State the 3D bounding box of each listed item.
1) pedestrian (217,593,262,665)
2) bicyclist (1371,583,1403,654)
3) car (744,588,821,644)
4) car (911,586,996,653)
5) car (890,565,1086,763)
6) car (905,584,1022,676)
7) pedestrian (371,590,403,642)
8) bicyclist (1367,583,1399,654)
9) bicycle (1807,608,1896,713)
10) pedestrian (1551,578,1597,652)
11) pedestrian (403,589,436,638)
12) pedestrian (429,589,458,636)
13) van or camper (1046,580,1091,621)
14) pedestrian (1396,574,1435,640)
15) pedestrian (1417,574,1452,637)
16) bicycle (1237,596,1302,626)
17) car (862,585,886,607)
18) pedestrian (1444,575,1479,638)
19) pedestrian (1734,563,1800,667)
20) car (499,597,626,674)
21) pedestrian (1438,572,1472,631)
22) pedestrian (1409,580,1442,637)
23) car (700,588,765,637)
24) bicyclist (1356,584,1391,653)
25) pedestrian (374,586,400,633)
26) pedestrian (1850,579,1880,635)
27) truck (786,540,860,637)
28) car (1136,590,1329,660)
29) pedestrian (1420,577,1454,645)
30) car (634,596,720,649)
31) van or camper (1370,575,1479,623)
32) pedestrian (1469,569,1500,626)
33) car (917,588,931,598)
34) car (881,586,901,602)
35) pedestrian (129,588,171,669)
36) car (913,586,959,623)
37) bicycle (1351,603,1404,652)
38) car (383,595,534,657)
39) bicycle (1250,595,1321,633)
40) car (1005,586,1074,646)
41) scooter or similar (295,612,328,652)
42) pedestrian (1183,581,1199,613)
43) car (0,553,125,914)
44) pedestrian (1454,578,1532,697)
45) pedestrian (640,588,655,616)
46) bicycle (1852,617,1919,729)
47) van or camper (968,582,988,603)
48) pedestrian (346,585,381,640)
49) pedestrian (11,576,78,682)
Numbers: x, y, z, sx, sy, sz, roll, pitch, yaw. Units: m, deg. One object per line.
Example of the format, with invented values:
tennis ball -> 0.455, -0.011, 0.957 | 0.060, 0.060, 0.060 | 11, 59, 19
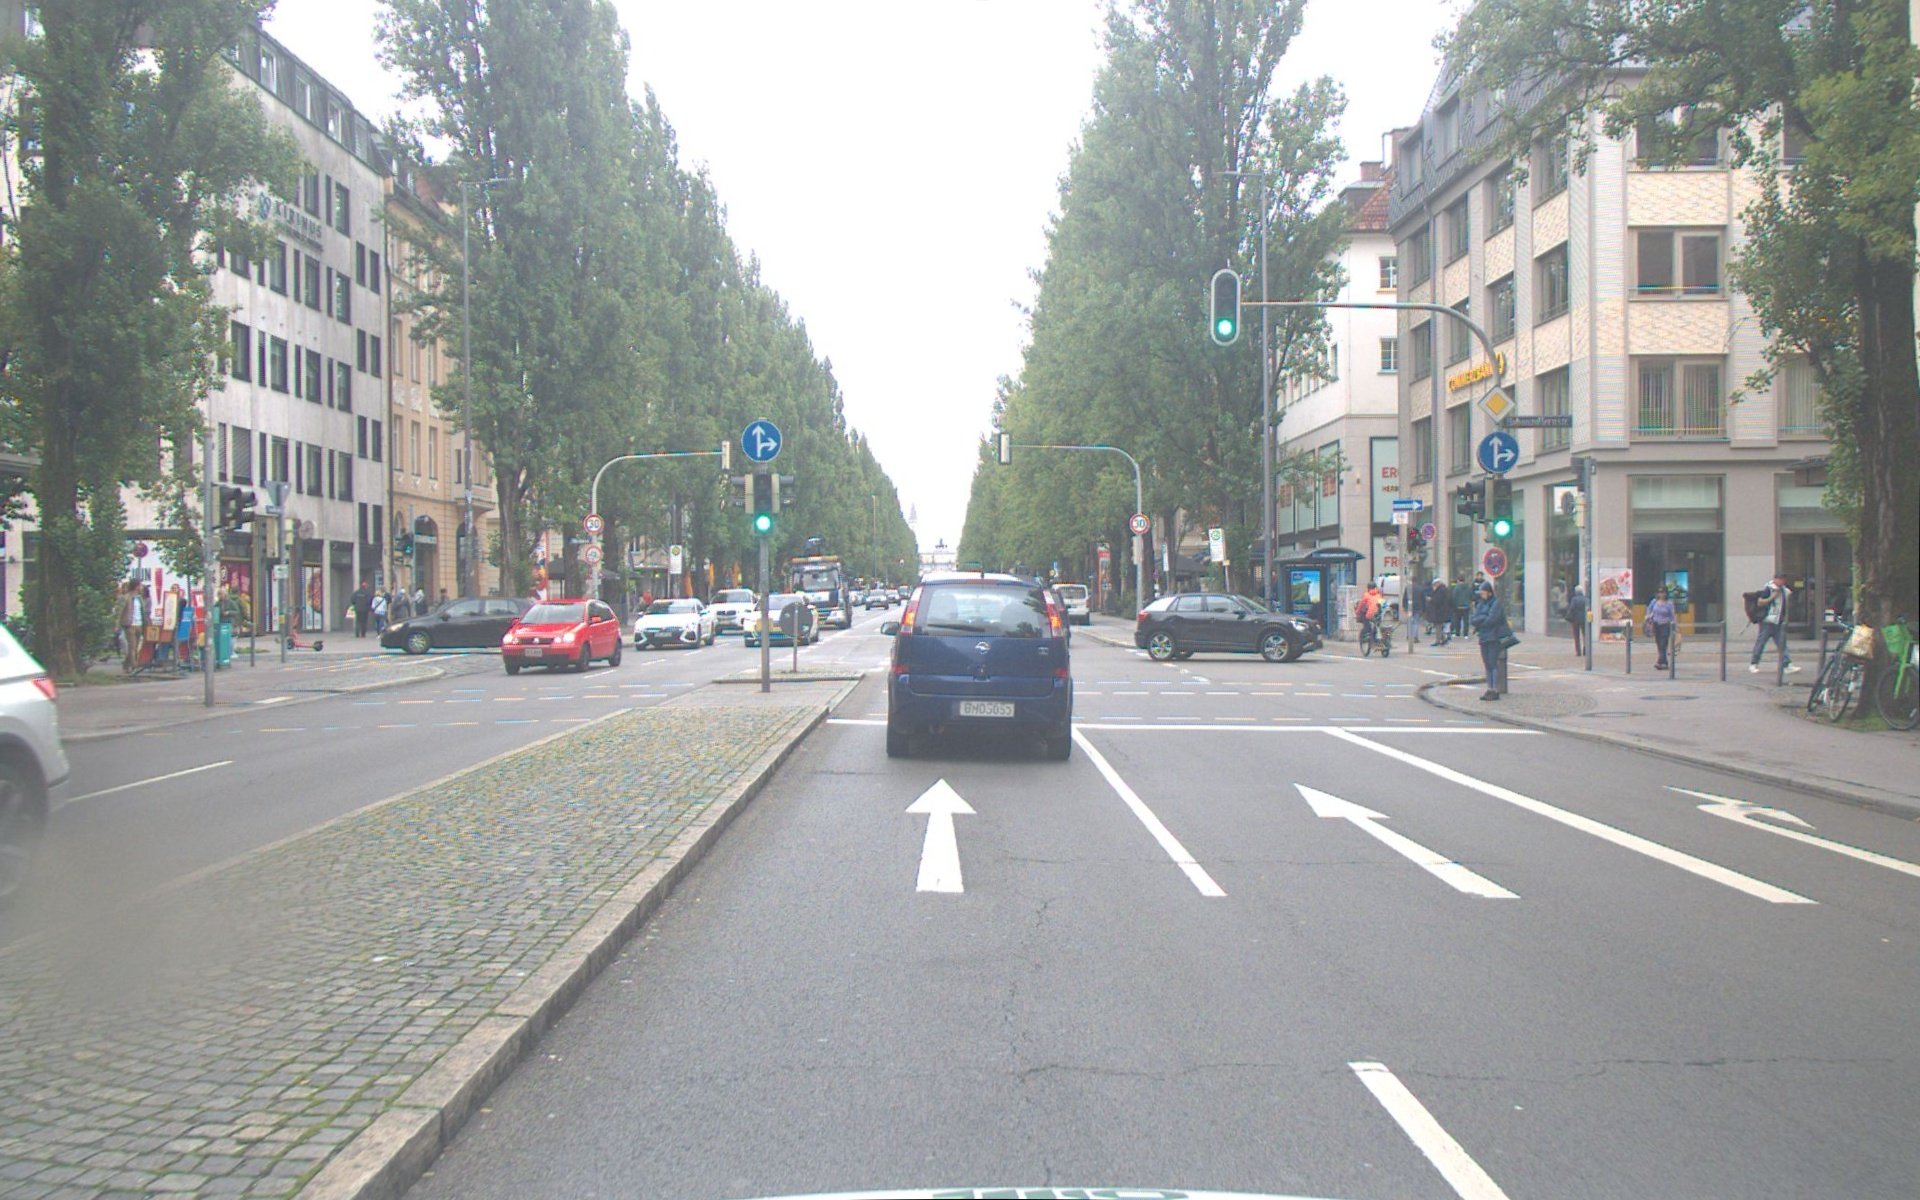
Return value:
pedestrian -> -18.059, 0.710, 41.462 | 0.712, 1.771, 0.942 | 1, 0, -1
bicyclist -> 9.820, 0.429, 38.005 | 0.609, 1.616, 0.391 | -1, 0, -2
car -> -5.245, 0.433, 49.356 | 1.806, 1.528, 4.985 | -1, 0, -1
car -> -0.199, 0.441, 40.561 | 1.953, 1.523, 3.999 | -1, 0, -2
car -> 0.183, 0.525, 15.933 | 1.647, 1.670, 3.999 | 0, 0, -2
car -> 0.009, 0.487, 29.963 | 1.953, 1.523, 3.999 | -1, 0, -2
pedestrian -> -19.074, 0.513, 55.094 | 0.717, 1.711, 0.977 | 1, 0, -1
bicyclist -> 9.816, 0.430, 38.390 | 0.609, 1.616, 0.481 | -1, 0, -2
bicycle -> 10.038, 0.653, 18.669 | 0.396, 1.088, 1.813 | 5, 1, 15
pedestrian -> 14.301, 0.358, 38.522 | 0.734, 1.665, 0.734 | -2, -2, 1
pedestrian -> -17.780, 0.442, 54.423 | 0.735, 1.594, 0.989 | 1, 0, -2
pedestrian -> -18.583, 0.439, 59.504 | 0.762, 1.647, 0.934 | -1, 0, -1
van or camper -> 5.283, 0.014, 80.905 | 1.830, 1.916, 4.902 | 0, 0, -1
pedestrian -> 12.773, 0.193, 46.413 | 0.801, 1.849, 0.890 | 0, 0, -2
pedestrian -> 13.771, 0.160, 48.047 | 0.734, 1.789, 0.859 | -1, -2, 1
bicycle -> 10.846, 0.371, 57.989 | 2.104, 1.035, 0.874 | 0, 0, -1
car -> -7.157, -0.340, 137.847 | 1.874, 1.710, 4.585 | -1, 0, -1
pedestrian -> 14.559, 0.200, 48.012 | 0.734, 1.789, 0.859 | -1, -2, 1
pedestrian -> 13.752, 0.260, 28.186 | 0.845, 1.732, 0.663 | -2, -2, 41
car -> -8.126, 0.686, 34.079 | 1.701, 1.462, 3.823 | -1, 0, -1
pedestrian -> 15.063, 0.040, 50.375 | 0.734, 1.748, 0.963 | -1, 0, 1
pedestrian -> 14.215, 0.255, 50.517 | 0.734, 1.706, 0.963 | -1, 0, 1
car -> -8.654, 0.459, 63.266 | 1.800, 1.746, 4.635 | -1, 0, 0
bicyclist -> 9.793, 0.430, 39.148 | 0.609, 1.616, 0.753 | -1, 0, -1
pedestrian -> -22.117, 0.360, 63.807 | 0.684, 1.818, 0.820 | -1, 0, 0
pedestrian -> 23.532, 0.181, 43.003 | 0.434, 1.430, 0.584 | -1, 0, -4
truck -> -5.598, -0.489, 68.759 | 2.413, 3.734, 8.438 | -1, 0, -1
car -> 6.059, 0.539, 36.747 | 3.907, 1.486, 1.758 | -1, 0, 24
pedestrian -> 12.731, 0.283, 44.155 | 0.694, 1.788, 0.752 | -1, 0, 1
car -> -8.276, 0.634, 48.746 | 1.786, 1.432, 4.631 | -1, 0, -1
van or camper -> 19.082, -0.038, 68.089 | 4.018, 1.899, 1.899 | 1, 0, 3
pedestrian -> 16.412, -0.084, 51.753 | 0.734, 1.788, 0.711 | 0, 0, 0
car -> -5.214, -1.022, 240.095 | 1.922, 1.424, 3.778 | -1, 0, -1
car -> -7.271, -0.618, 174.406 | 1.896, 1.652, 4.335 | -1, 0, -1
pedestrian -> -17.534, 0.613, 35.799 | 0.616, 1.718, 0.519 | 1, 0, 0
car -> -1.064, 0.177, 72.241 | 1.953, 1.523, 3.999 | -1, 0, -2
bicycle -> 9.806, 0.632, 38.937 | 0.614, 1.106, 2.263 | -1, 0, -1
car -> -12.941, 0.636, 42.677 | 3.637, 1.501, 1.763 | -1, 0, -20
bicycle -> 11.086, 0.467, 56.339 | 2.295, 1.274, 0.633 | 0, 0, -1
car -> 2.228, 0.411, 47.314 | 1.671, 1.601, 3.999 | -1, 1, -1
scooter or similar -> -18.308, 0.908, 46.696 | 0.798, 1.112, 0.274 | 1, 0, -5
pedestrian -> 13.987, -0.187, 100.150 | 0.809, 1.873, 1.099 | -1, 0, 2
car -> -5.345, 0.655, 6.450 | 1.806, 1.664, 4.575 | -2, 0, 0
pedestrian -> 7.513, 0.515, 23.342 | 0.750, 1.638, 0.863 | -1, 0, -5
pedestrian -> -18.880, 0.101, 100.031 | 0.719, 1.702, 0.952 | -1, 0, -1
bicycle -> 9.662, 0.726, 16.507 | 0.498, 1.066, 1.769 | -1, 0, -2
van or camper -> 2.336, -0.987, 217.536 | 2.426, 2.626, 5.844 | -1, 0, 0
pedestrian -> -19.861, 0.402, 55.088 | 0.783, 1.818, 0.912 | 1, 0, -1
pedestrian -> -15.837, 0.484, 28.622 | 0.709, 1.802, 0.778 | -1, 0, 0
